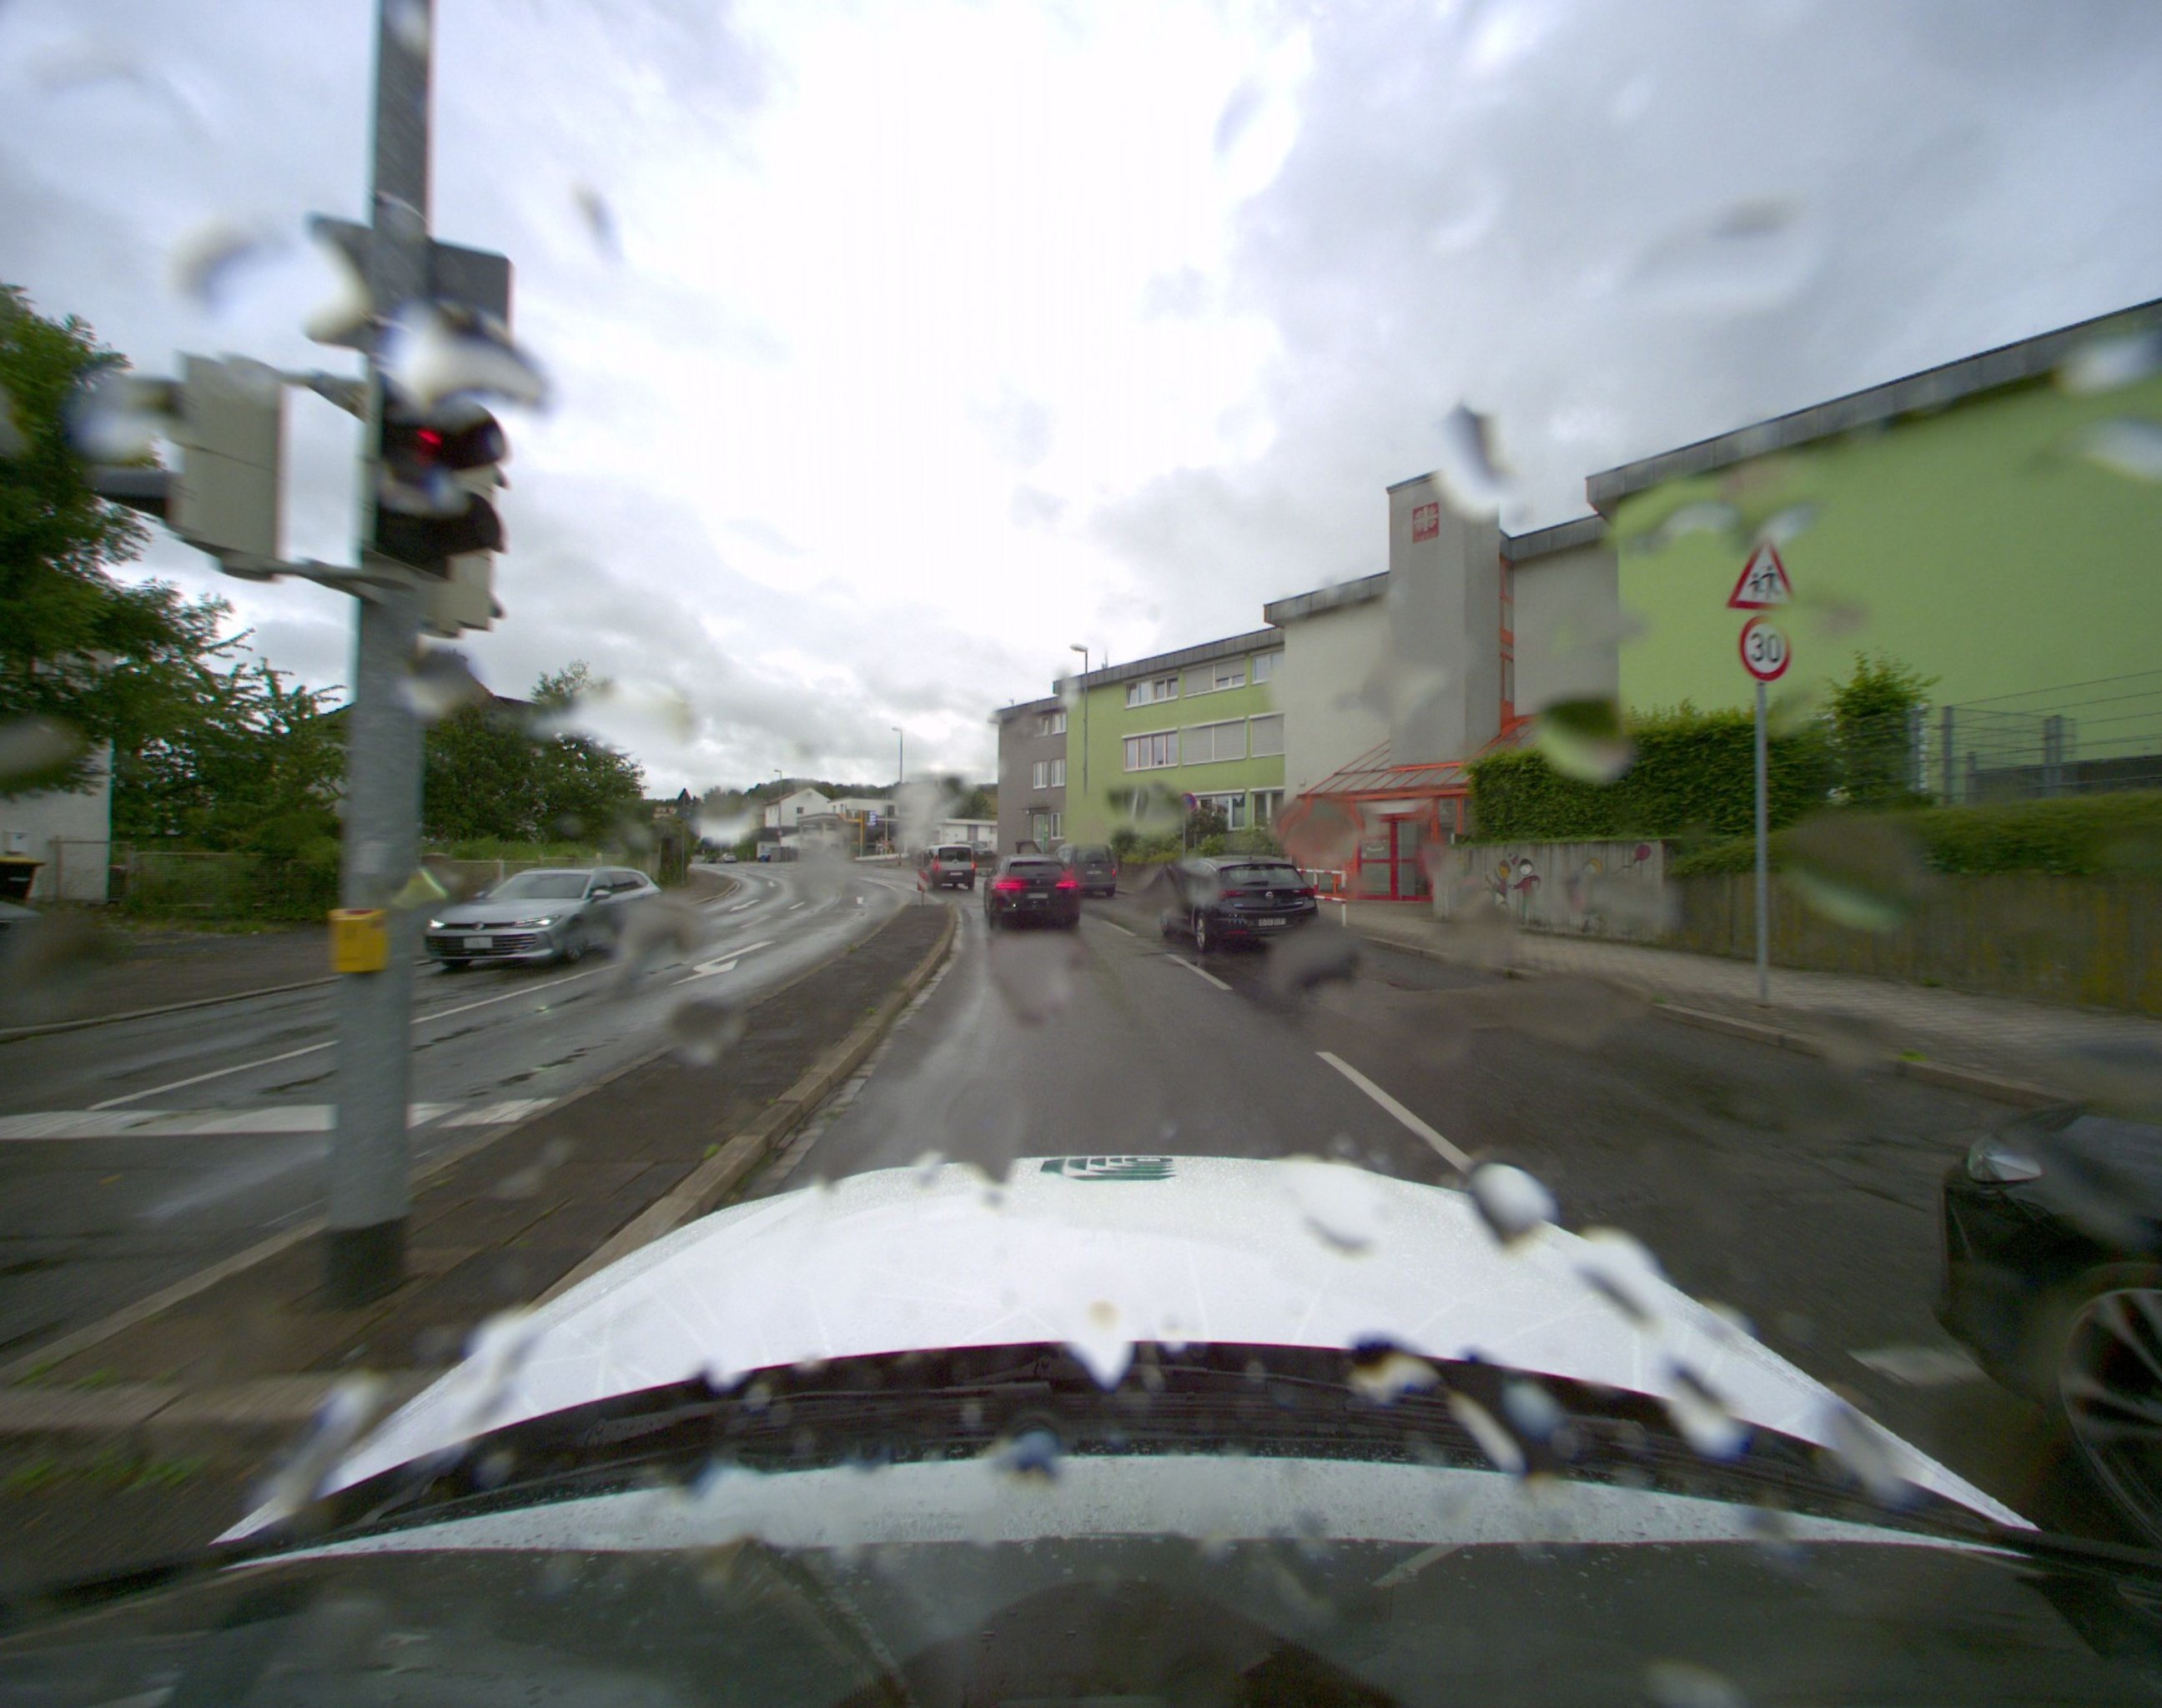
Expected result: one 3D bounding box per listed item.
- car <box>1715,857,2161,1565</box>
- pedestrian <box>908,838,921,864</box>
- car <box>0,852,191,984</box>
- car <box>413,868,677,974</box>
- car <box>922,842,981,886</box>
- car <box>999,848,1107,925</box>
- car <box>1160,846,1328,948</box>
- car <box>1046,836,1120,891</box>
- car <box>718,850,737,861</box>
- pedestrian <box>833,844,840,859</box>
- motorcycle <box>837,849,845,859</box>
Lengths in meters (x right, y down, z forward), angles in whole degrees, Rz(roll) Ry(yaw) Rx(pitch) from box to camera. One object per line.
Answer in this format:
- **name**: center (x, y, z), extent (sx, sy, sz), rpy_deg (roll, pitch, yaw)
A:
- **car**: center (3.098, 0.688, 0.413), extent (1.860, 1.424, 4.738), rpy_deg (-1, -1, 0)
- **pedestrian**: center (-12.944, -0.203, 63.216), extent (0.607, 2.014, 0.722), rpy_deg (-2, -2, 42)
- **car**: center (-14.201, 0.681, 9.996), extent (3.986, 1.395, 1.926), rpy_deg (3, -1, -10)
- **car**: center (-8.627, 0.972, 13.701), extent (1.673, 1.450, 4.679), rpy_deg (-1, -1, -5)
- **car**: center (-5.555, 0.443, 34.673), extent (1.998, 1.737, 3.977), rpy_deg (0, -1, -16)
- **car**: center (-0.738, 0.669, 18.073), extent (1.992, 1.484, 3.988), rpy_deg (-1, -1, -8)
- **car**: center (2.557, 0.642, 13.736), extent (1.753, 1.449, 3.993), rpy_deg (-1, -1, -5)
- **car**: center (-0.017, 0.339, 28.363), extent (1.839, 1.767, 3.984), rpy_deg (-1, -1, -11)
- **car**: center (-50.794, 0.175, 117.000), extent (1.713, 1.510, 4.486), rpy_deg (0, -1, -34)
- **pedestrian**: center (-27.348, -0.244, 90.990), extent (0.614, 1.656, 0.579), rpy_deg (0, -2, -33)
- **motorcycle**: center (-26.822, 0.029, 91.084), extent (0.465, 1.055, 1.376), rpy_deg (0, -1, -33)
